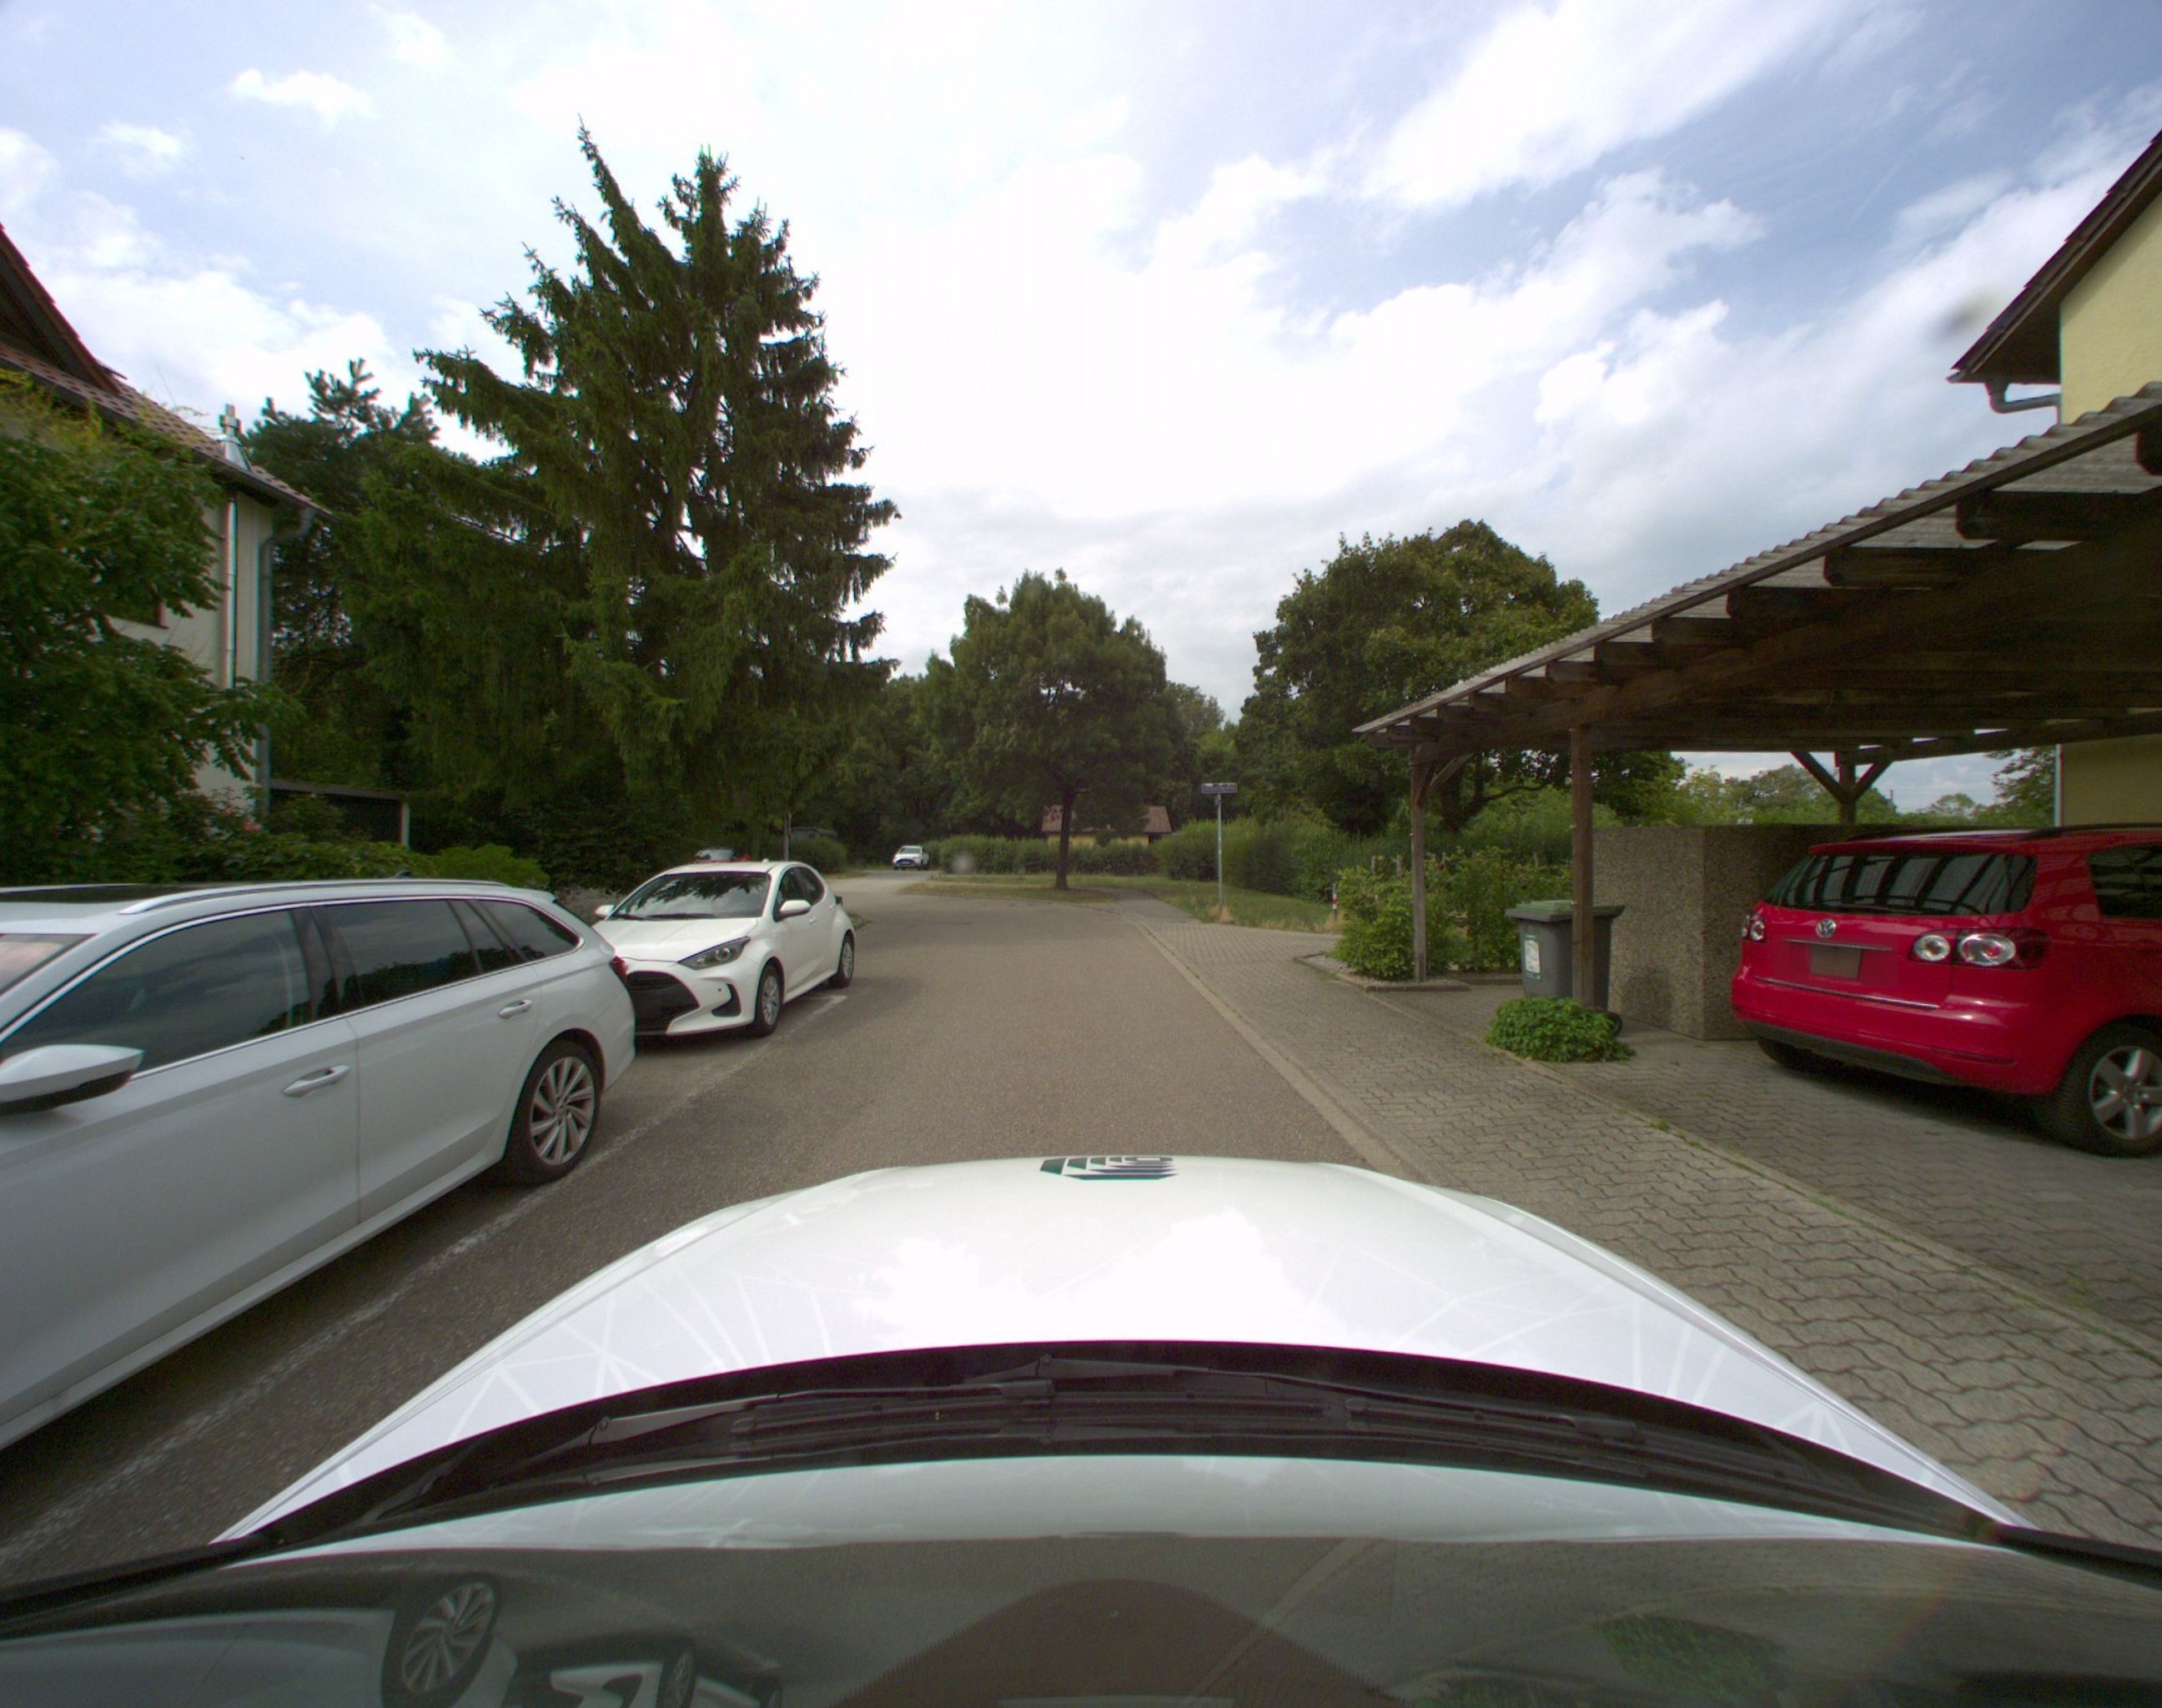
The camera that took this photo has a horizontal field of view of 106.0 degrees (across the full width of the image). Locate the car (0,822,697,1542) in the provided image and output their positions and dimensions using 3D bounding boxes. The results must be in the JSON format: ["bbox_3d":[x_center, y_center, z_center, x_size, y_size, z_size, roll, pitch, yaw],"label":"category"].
[{"bbox_3d":[-3.274,0.716,2.674,1.805,1.562,4.845,0,0,-1],"label":"car"}]

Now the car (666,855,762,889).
[{"bbox_3d":[-15.123,0.683,33.874,1.988,1.290,4.689,0,0,-2],"label":"car"}]

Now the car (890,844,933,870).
[{"bbox_3d":[-11.112,0.166,53.706,1.932,1.660,4.339,0,0,-1],"label":"car"}]

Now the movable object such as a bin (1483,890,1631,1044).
[{"bbox_3d":[3.648,0.839,6.293,0.697,1.072,0.710,-1,0,-5],"label":"movable object such as a bin"}]

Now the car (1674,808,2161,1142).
[{"bbox_3d":[6.108,0.544,4.839,3.949,1.540,1.837,0,0,-4],"label":"car"}]

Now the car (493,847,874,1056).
[{"bbox_3d":[-3.480,0.717,8.127,1.786,1.531,4.138,0,0,-1],"label":"car"}]
